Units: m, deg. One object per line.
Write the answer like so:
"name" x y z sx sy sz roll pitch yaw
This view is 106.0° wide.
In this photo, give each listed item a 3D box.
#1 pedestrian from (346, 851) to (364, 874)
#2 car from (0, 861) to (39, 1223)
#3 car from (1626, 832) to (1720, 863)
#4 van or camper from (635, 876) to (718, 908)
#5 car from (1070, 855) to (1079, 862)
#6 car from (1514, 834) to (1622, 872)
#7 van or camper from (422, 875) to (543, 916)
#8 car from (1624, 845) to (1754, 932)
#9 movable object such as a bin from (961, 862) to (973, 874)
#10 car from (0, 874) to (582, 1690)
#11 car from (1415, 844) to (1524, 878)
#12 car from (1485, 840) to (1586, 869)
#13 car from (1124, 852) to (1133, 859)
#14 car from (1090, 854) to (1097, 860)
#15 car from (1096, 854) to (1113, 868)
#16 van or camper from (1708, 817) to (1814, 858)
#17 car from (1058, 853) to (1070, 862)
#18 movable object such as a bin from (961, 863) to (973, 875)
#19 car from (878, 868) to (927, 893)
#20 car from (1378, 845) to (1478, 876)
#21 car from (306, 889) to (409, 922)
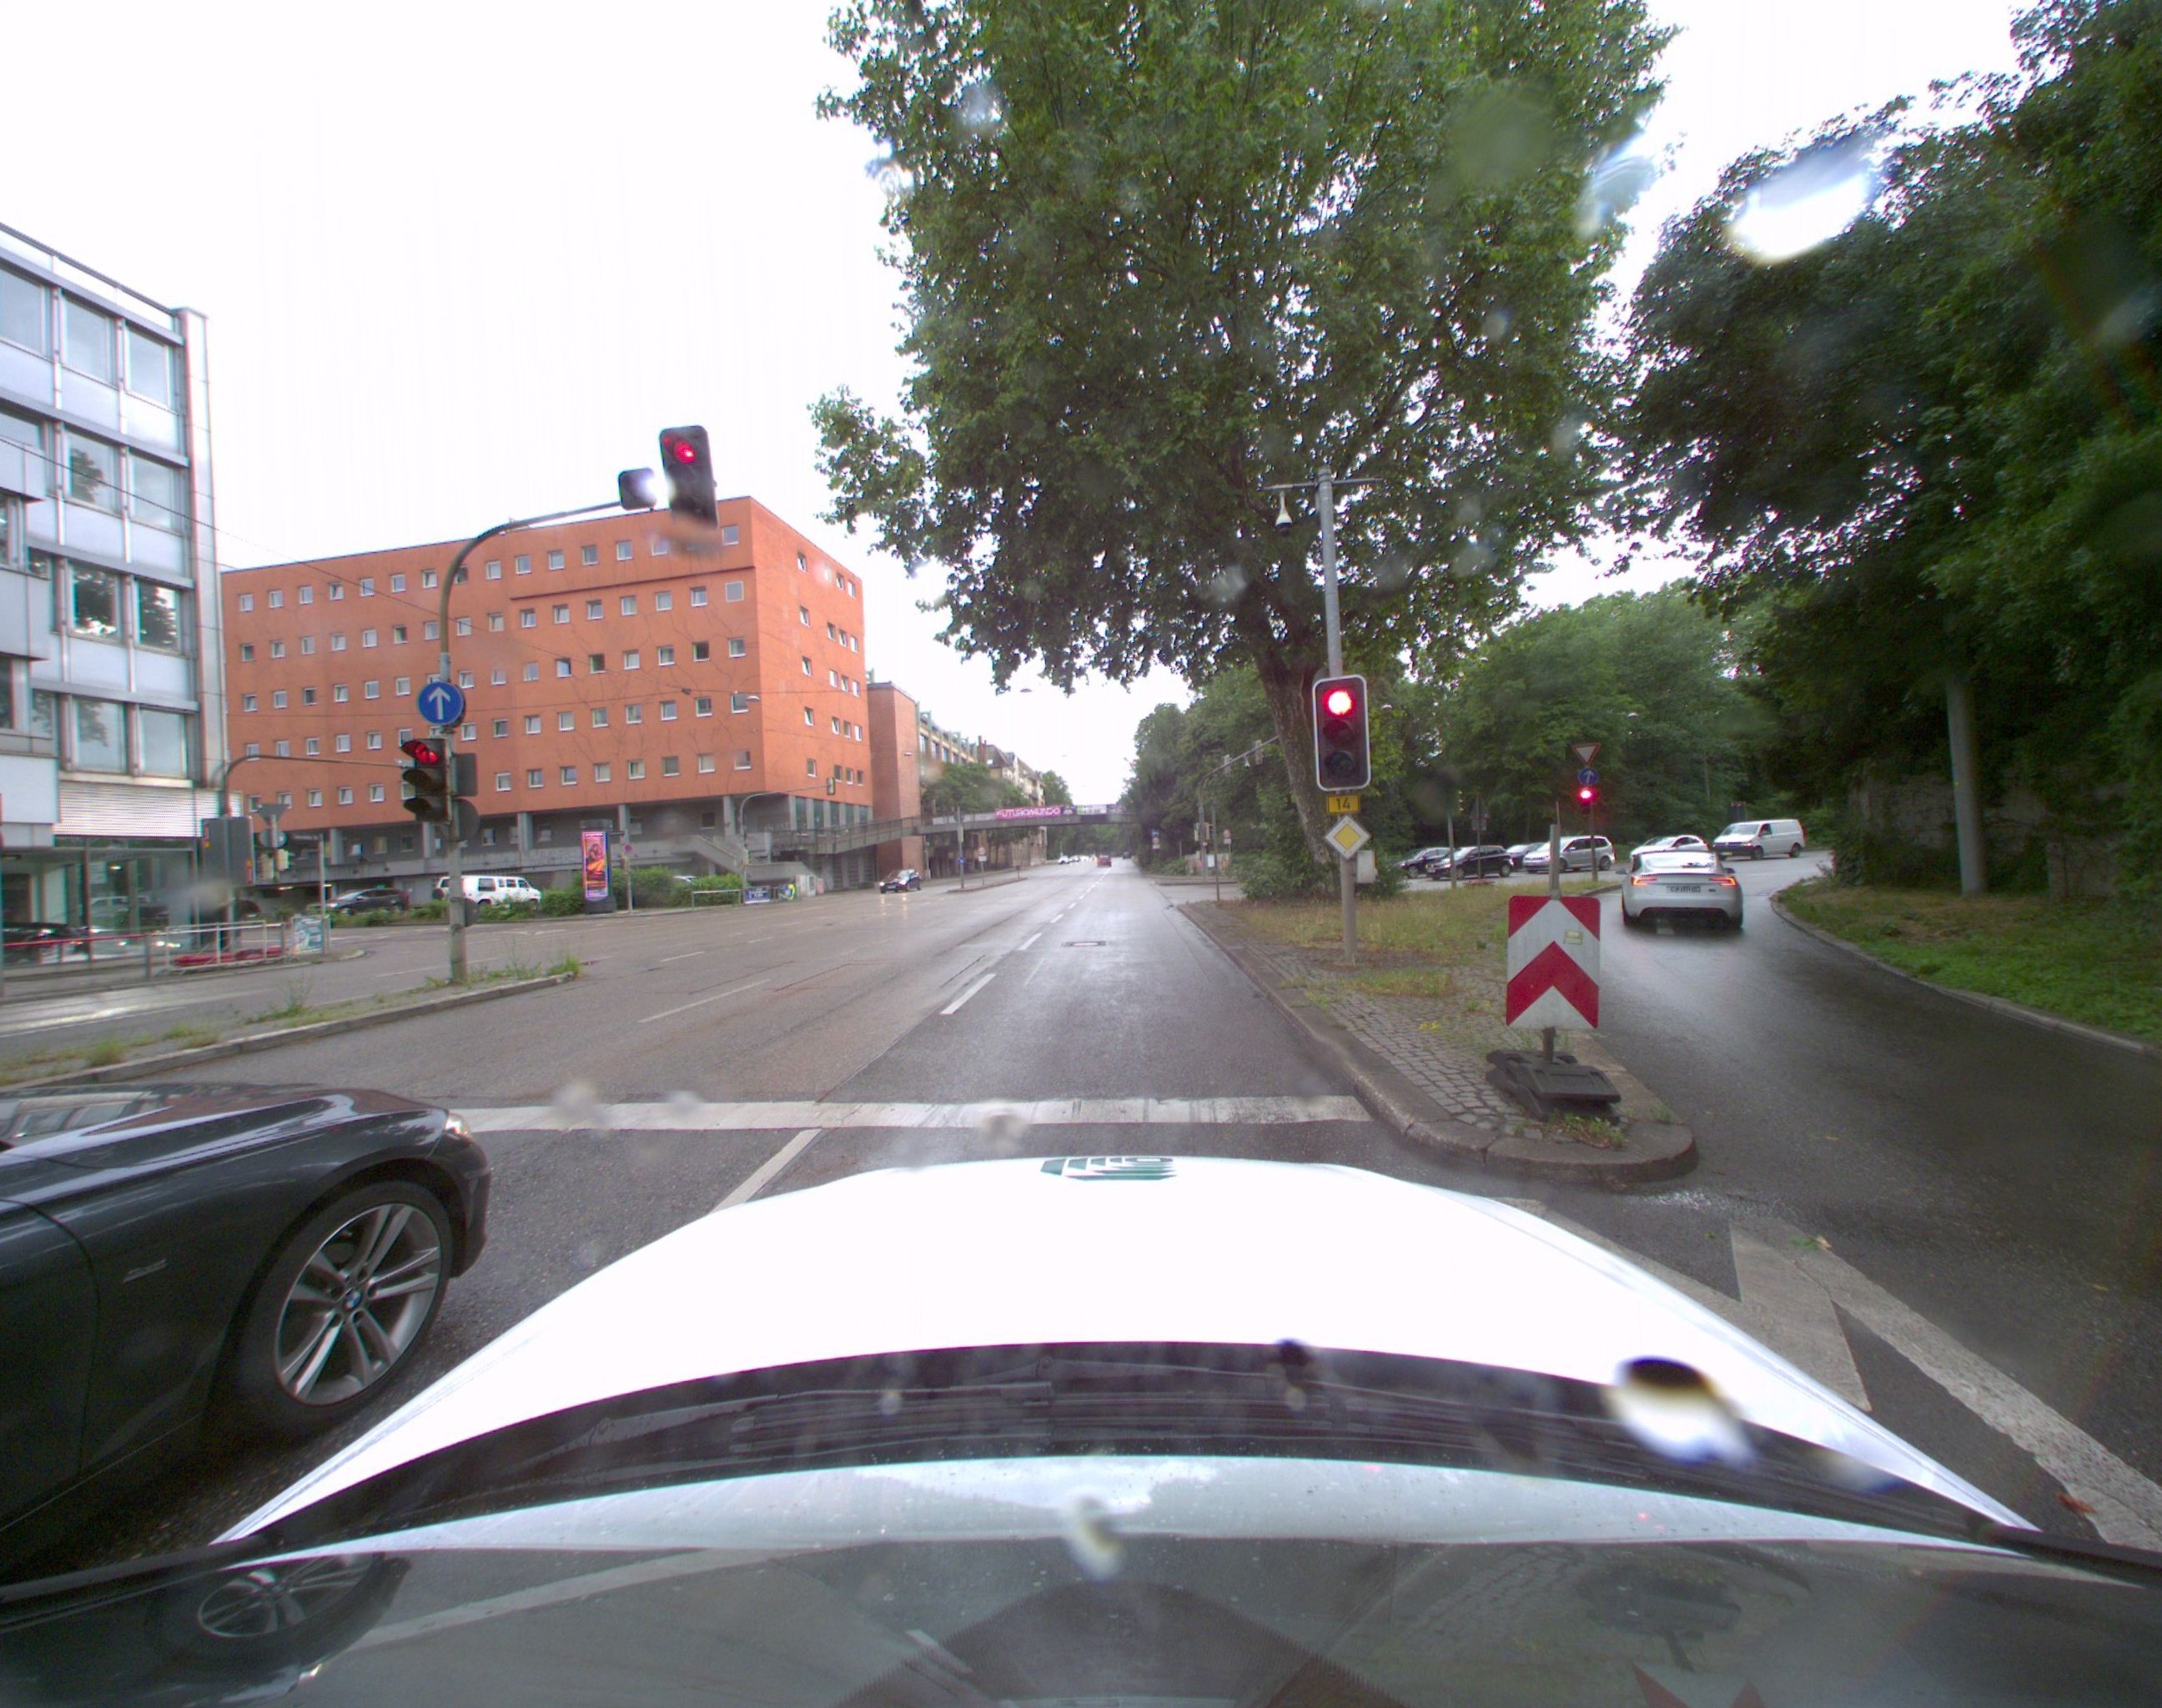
"pedestrian" -57.058 0.672 63.987 0.757 1.839 0.727 -1 -1 11
"car" -5.998 0.849 1.683 1.801 1.656 4.449 0 -1 4
"car" 28.847 -0.297 39.717 3.857 1.461 1.650 0 -1 -14
"van or camper" -24.186 2.262 48.776 3.965 1.627 1.918 -3 0 8
"car" -1.459 0.994 186.050 1.701 1.464 4.047 -3 -1 5
"car" 22.576 -0.044 37.816 4.203 1.680 1.898 0 -1 -14
"van or camper" -32.832 2.230 44.928 2.113 1.977 5.466 0 -1 9
"car" 12.331 0.577 16.644 1.834 1.448 4.648 2 2 36
"movable object such as a bin" -15.202 1.930 109.005 1.293 1.518 1.215 -3 0 3
"car" -2.921 0.839 0.888 1.769 1.458 4.480 -3 -1 3
"car" 17.164 0.308 36.028 4.192 1.460 1.784 0 -1 -14
"car" 22.962 0.038 41.223 4.438 1.402 1.821 0 -1 -14
"car" 9.904 0.239 171.340 1.835 1.453 3.778 0 -1 2
"car" 3.238 0.727 209.766 1.676 1.436 3.865 -3 -1 3
"car" 2.969 0.940 104.978 1.998 1.643 4.376 -3 0 0
"van or camper" 34.720 -0.828 41.577 4.864 1.947 1.895 -1 -1 -19
"car" -3.301 0.745 159.910 1.881 1.610 4.461 -3 -1 4
"movable object such as a bin" -15.110 1.942 107.672 1.277 1.518 1.274 -3 0 3
"car" -11.174 1.620 51.350 1.677 1.419 4.222 -4 -2 6
"car" 16.933 0.316 39.825 4.205 1.440 1.941 0 -1 -14
"car" -40.244 2.827 45.408 1.699 1.612 4.097 -1 -1 9
